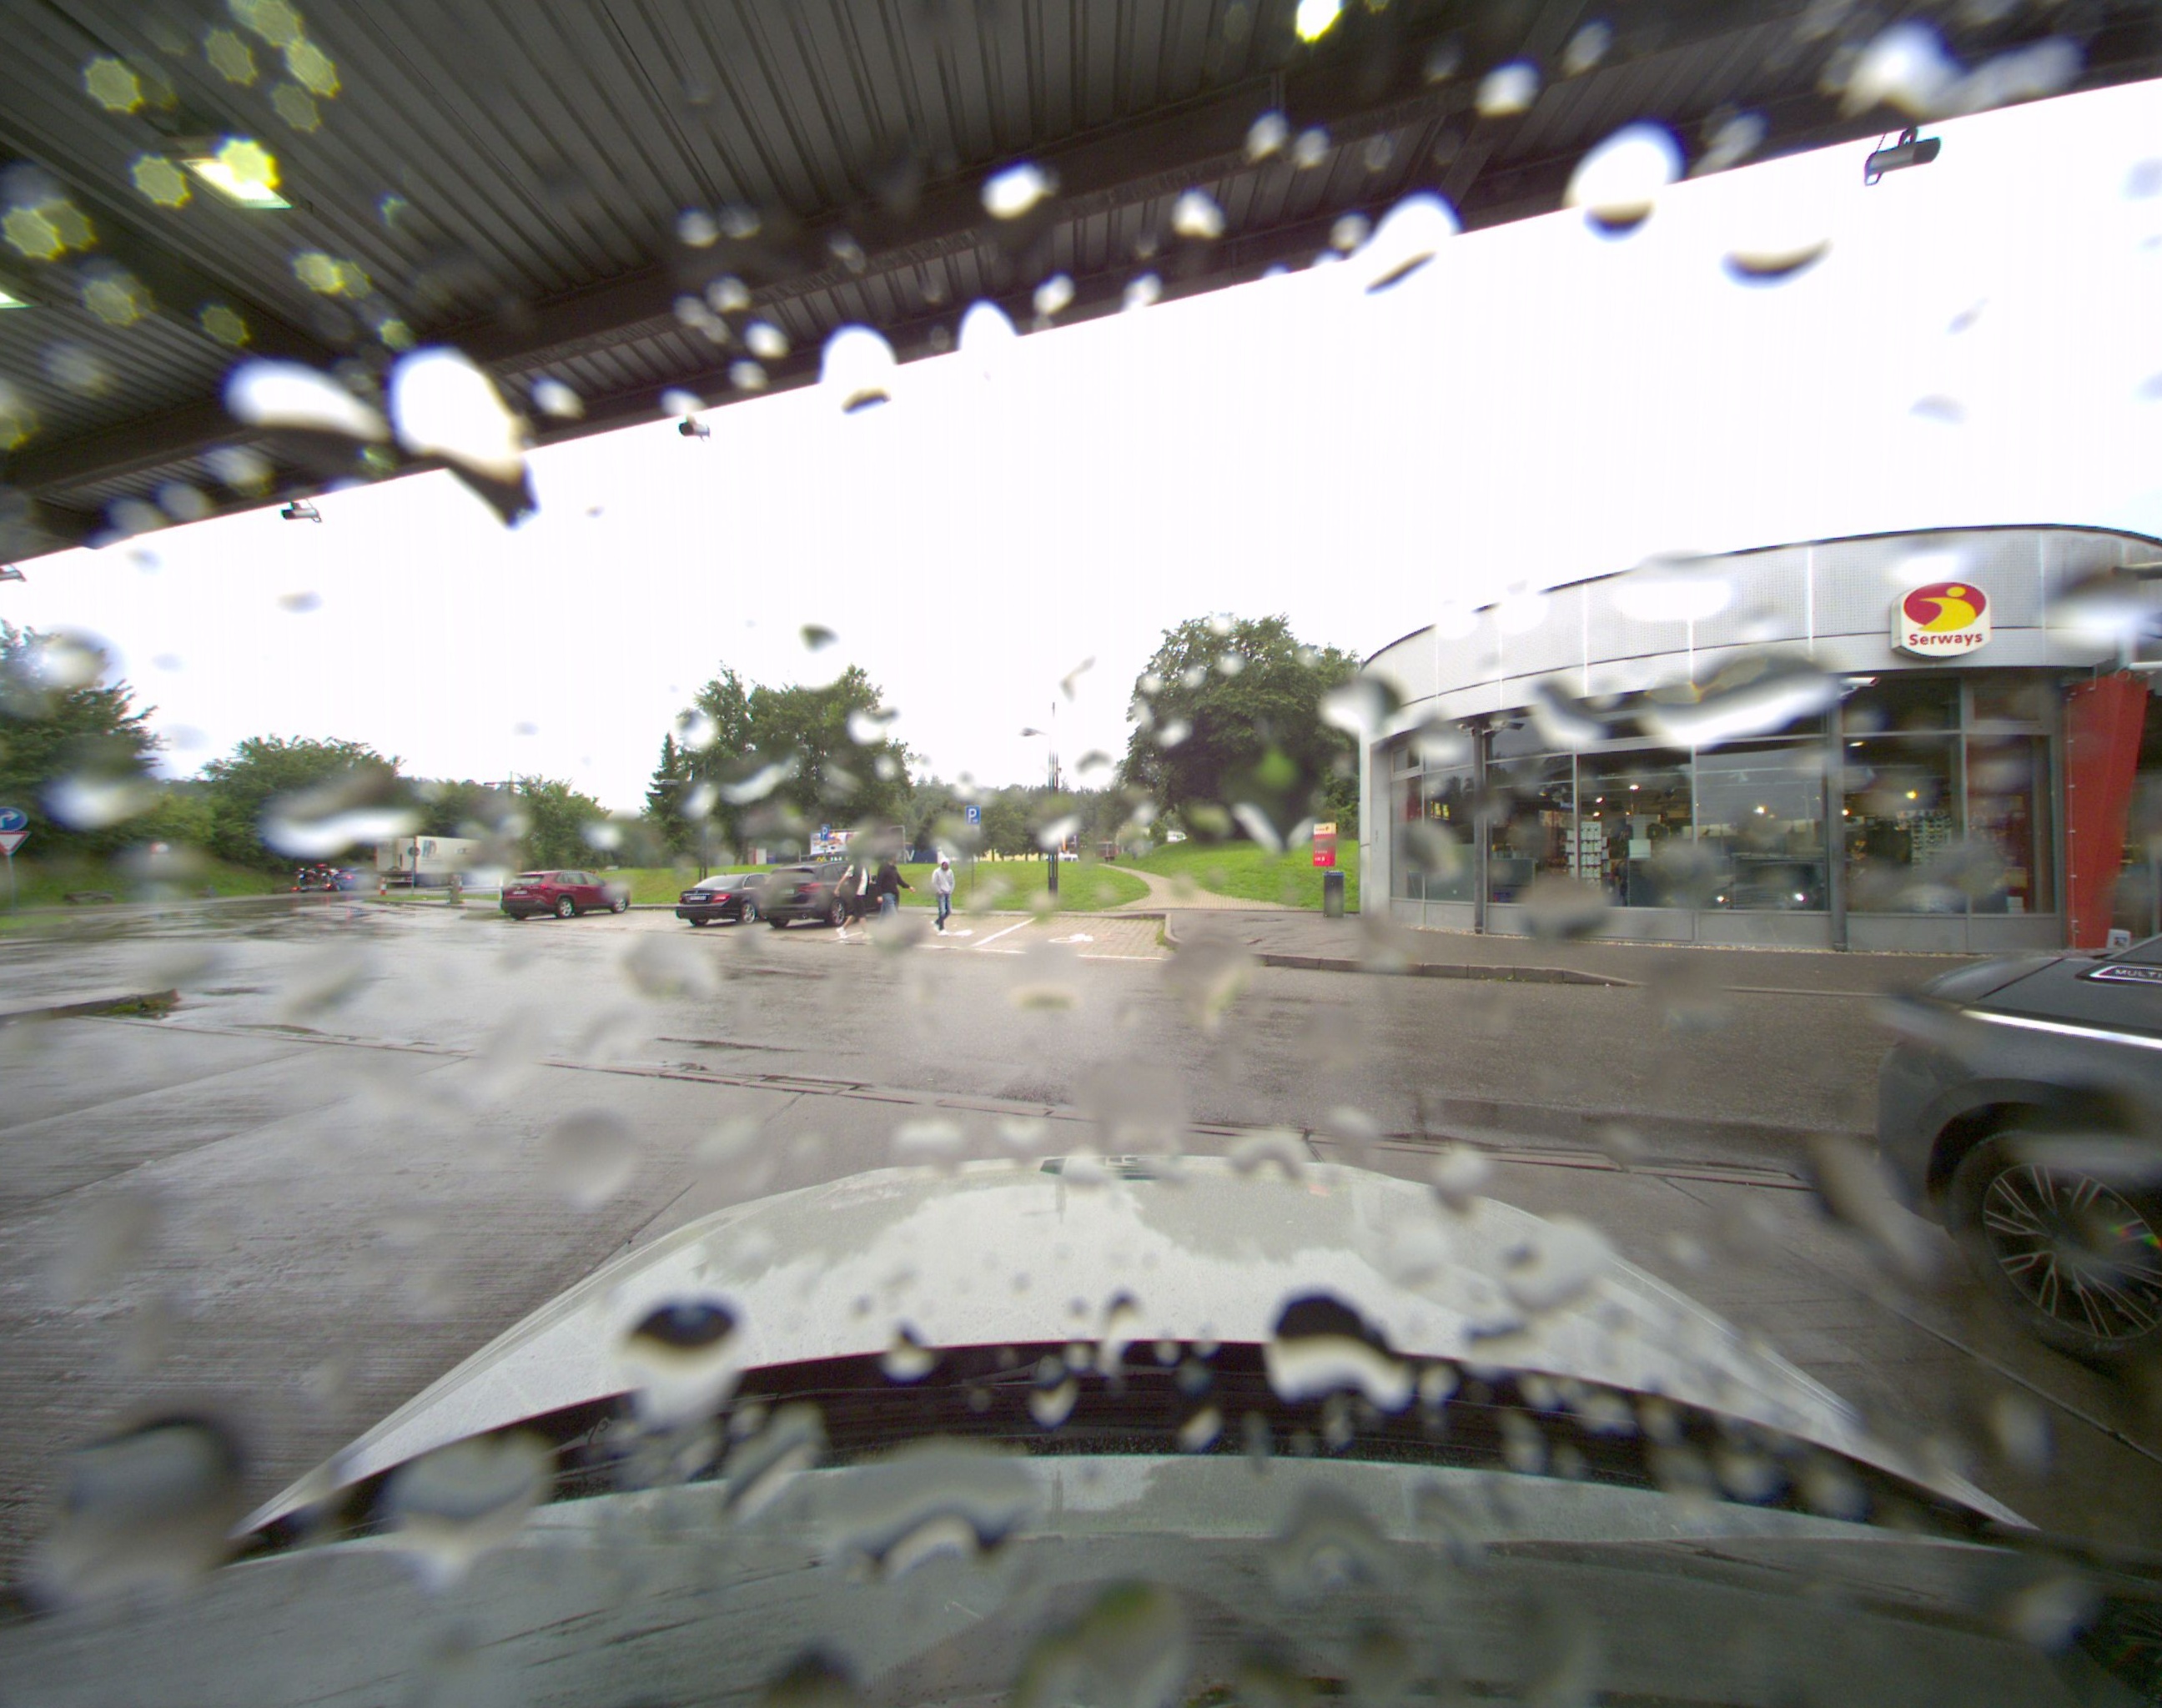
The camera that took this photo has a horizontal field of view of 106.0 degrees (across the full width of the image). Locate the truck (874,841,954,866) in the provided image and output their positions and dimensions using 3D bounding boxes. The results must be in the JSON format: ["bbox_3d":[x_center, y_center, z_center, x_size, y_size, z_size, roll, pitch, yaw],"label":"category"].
[{"bbox_3d":[-20.759,-0.058,102.333,2.165,2.920,13.175,-1,-1,26],"label":"truck"}]

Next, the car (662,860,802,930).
[{"bbox_3d":[-9.843,1.081,23.410,2.010,1.711,4.344,-2,0,1],"label":"car"}]

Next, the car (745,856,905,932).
[{"bbox_3d":[-6.657,0.970,21.766,2.002,1.711,4.360,-2,0,14],"label":"car"}]

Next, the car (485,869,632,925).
[{"bbox_3d":[-18.145,1.441,28.579,1.928,1.644,4.352,-2,0,7],"label":"car"}]

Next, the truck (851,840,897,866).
[{"bbox_3d":[-24.192,-0.089,95.442,2.165,2.920,5.419,-1,-1,27],"label":"truck"}]

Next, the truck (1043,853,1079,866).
[{"bbox_3d":[-3.254,0.874,134.091,5.356,2.014,2.381,-1,-1,26],"label":"truck"}]

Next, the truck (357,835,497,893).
[{"bbox_3d":[-55.452,0.839,69.964,3.550,4.340,16.899,0,-1,-18],"label":"truck"}]

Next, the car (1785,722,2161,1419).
[{"bbox_3d":[3.665,0.542,0.663,1.854,1.798,5.142,0,-1,2],"label":"car"}]

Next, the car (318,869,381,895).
[{"bbox_3d":[-50.351,1.879,56.160,1.814,1.681,3.927,0,-1,-18],"label":"car"}]

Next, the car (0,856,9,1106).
[{"bbox_3d":[-7.977,0.802,2.662,1.854,1.608,5.273,0,-1,2],"label":"car"}]

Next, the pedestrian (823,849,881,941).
[{"bbox_3d":[-4.822,0.842,17.183,0.942,1.887,0.708,-1,-1,23],"label":"pedestrian"}]

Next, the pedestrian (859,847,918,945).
[{"bbox_3d":[-3.786,0.811,16.030,0.884,1.887,0.706,-1,-1,13],"label":"pedestrian"}]

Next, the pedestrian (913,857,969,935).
[{"bbox_3d":[-3.010,0.884,17.548,0.944,1.631,0.707,-1,-1,16],"label":"pedestrian"}]
